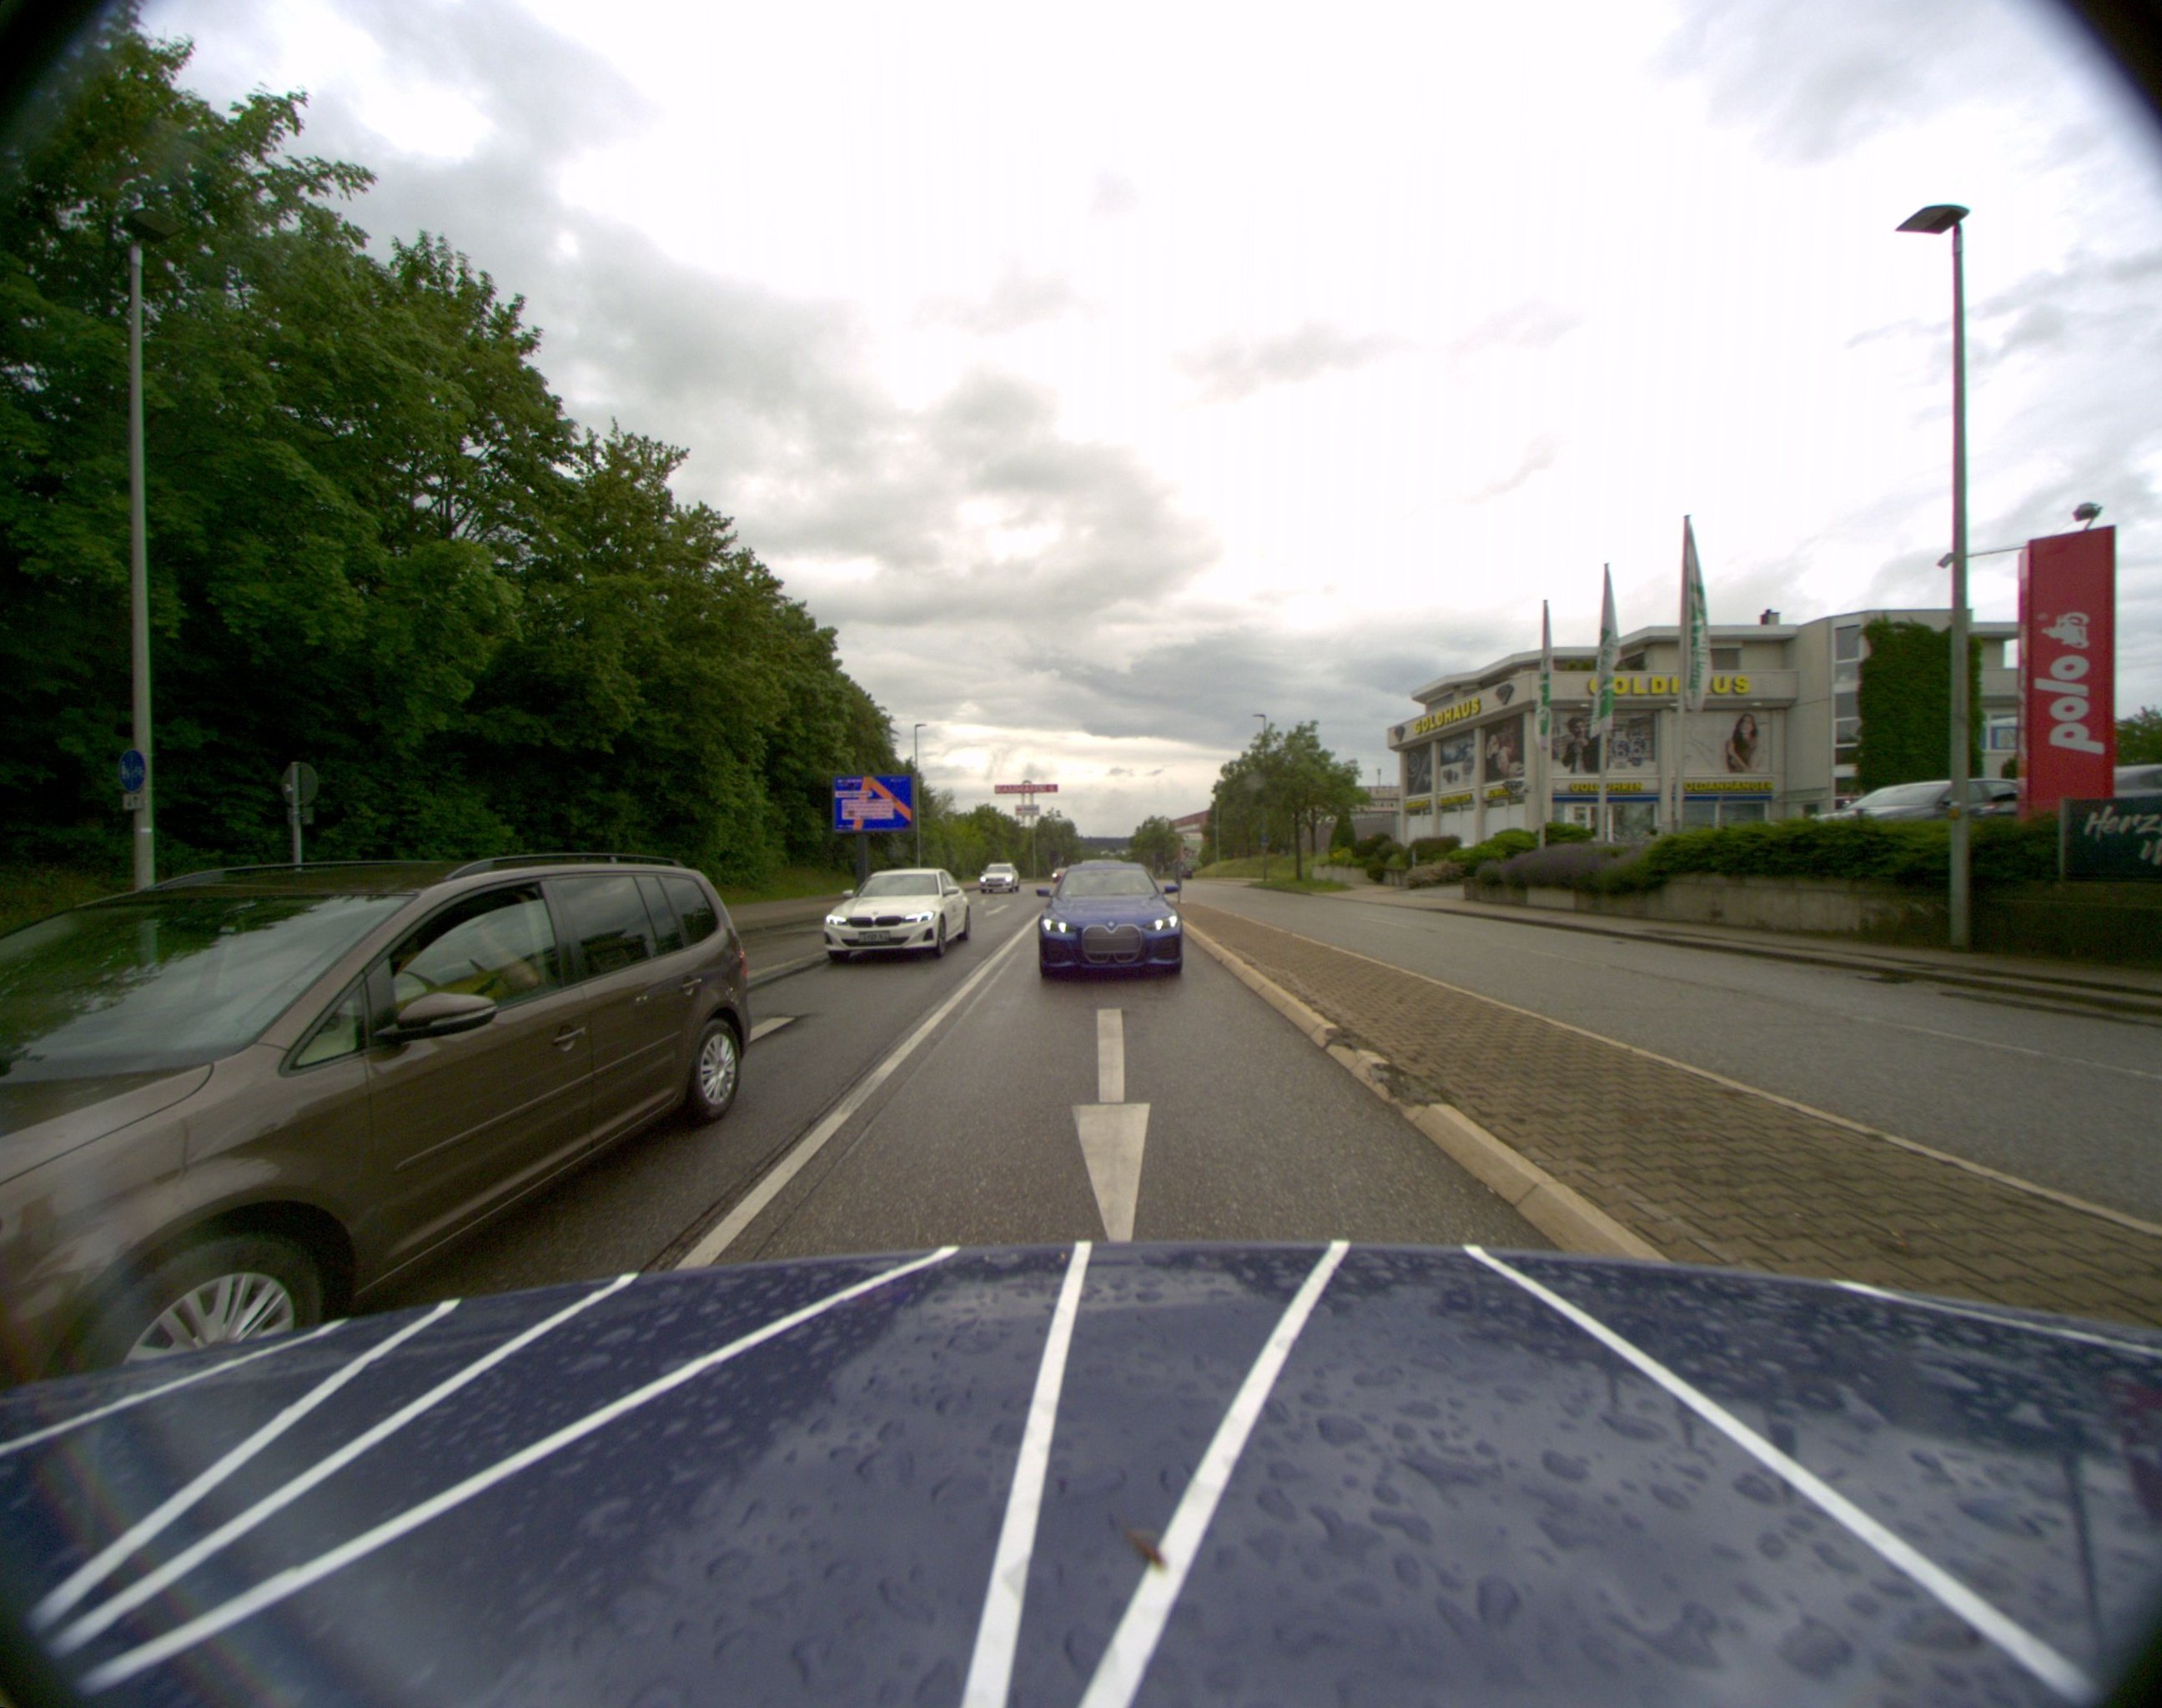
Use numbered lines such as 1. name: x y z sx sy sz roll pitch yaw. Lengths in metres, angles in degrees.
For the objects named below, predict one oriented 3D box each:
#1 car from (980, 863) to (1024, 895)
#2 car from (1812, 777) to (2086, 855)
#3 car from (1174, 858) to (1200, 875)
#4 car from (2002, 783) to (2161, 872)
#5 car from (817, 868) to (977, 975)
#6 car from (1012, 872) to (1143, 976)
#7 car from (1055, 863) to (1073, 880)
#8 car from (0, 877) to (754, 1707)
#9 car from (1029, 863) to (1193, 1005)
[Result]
1. car: -4.527 1.382 43.915 1.998 1.717 4.317 -1 0 1
2. car: 16.055 -0.670 14.173 3.394 1.329 1.454 -1 0 2
3. car: 11.938 1.458 85.968 2.350 1.879 4.546 -1 -2 1
4. car: 16.697 -0.389 11.681 3.395 1.270 1.454 -1 0 -2
5. car: -3.094 1.065 13.821 1.784 1.448 4.679 -2 0 -1
6. car: 0.111 1.138 13.946 1.998 1.455 4.369 -2 0 4
7. car: -1.550 1.604 71.125 1.634 1.448 3.537 -2 0 -1
8. car: -3.010 0.984 2.817 1.751 1.600 3.980 -2 0 1
9. car: 0.307 0.917 10.783 1.784 1.448 4.596 -2 0 -1
